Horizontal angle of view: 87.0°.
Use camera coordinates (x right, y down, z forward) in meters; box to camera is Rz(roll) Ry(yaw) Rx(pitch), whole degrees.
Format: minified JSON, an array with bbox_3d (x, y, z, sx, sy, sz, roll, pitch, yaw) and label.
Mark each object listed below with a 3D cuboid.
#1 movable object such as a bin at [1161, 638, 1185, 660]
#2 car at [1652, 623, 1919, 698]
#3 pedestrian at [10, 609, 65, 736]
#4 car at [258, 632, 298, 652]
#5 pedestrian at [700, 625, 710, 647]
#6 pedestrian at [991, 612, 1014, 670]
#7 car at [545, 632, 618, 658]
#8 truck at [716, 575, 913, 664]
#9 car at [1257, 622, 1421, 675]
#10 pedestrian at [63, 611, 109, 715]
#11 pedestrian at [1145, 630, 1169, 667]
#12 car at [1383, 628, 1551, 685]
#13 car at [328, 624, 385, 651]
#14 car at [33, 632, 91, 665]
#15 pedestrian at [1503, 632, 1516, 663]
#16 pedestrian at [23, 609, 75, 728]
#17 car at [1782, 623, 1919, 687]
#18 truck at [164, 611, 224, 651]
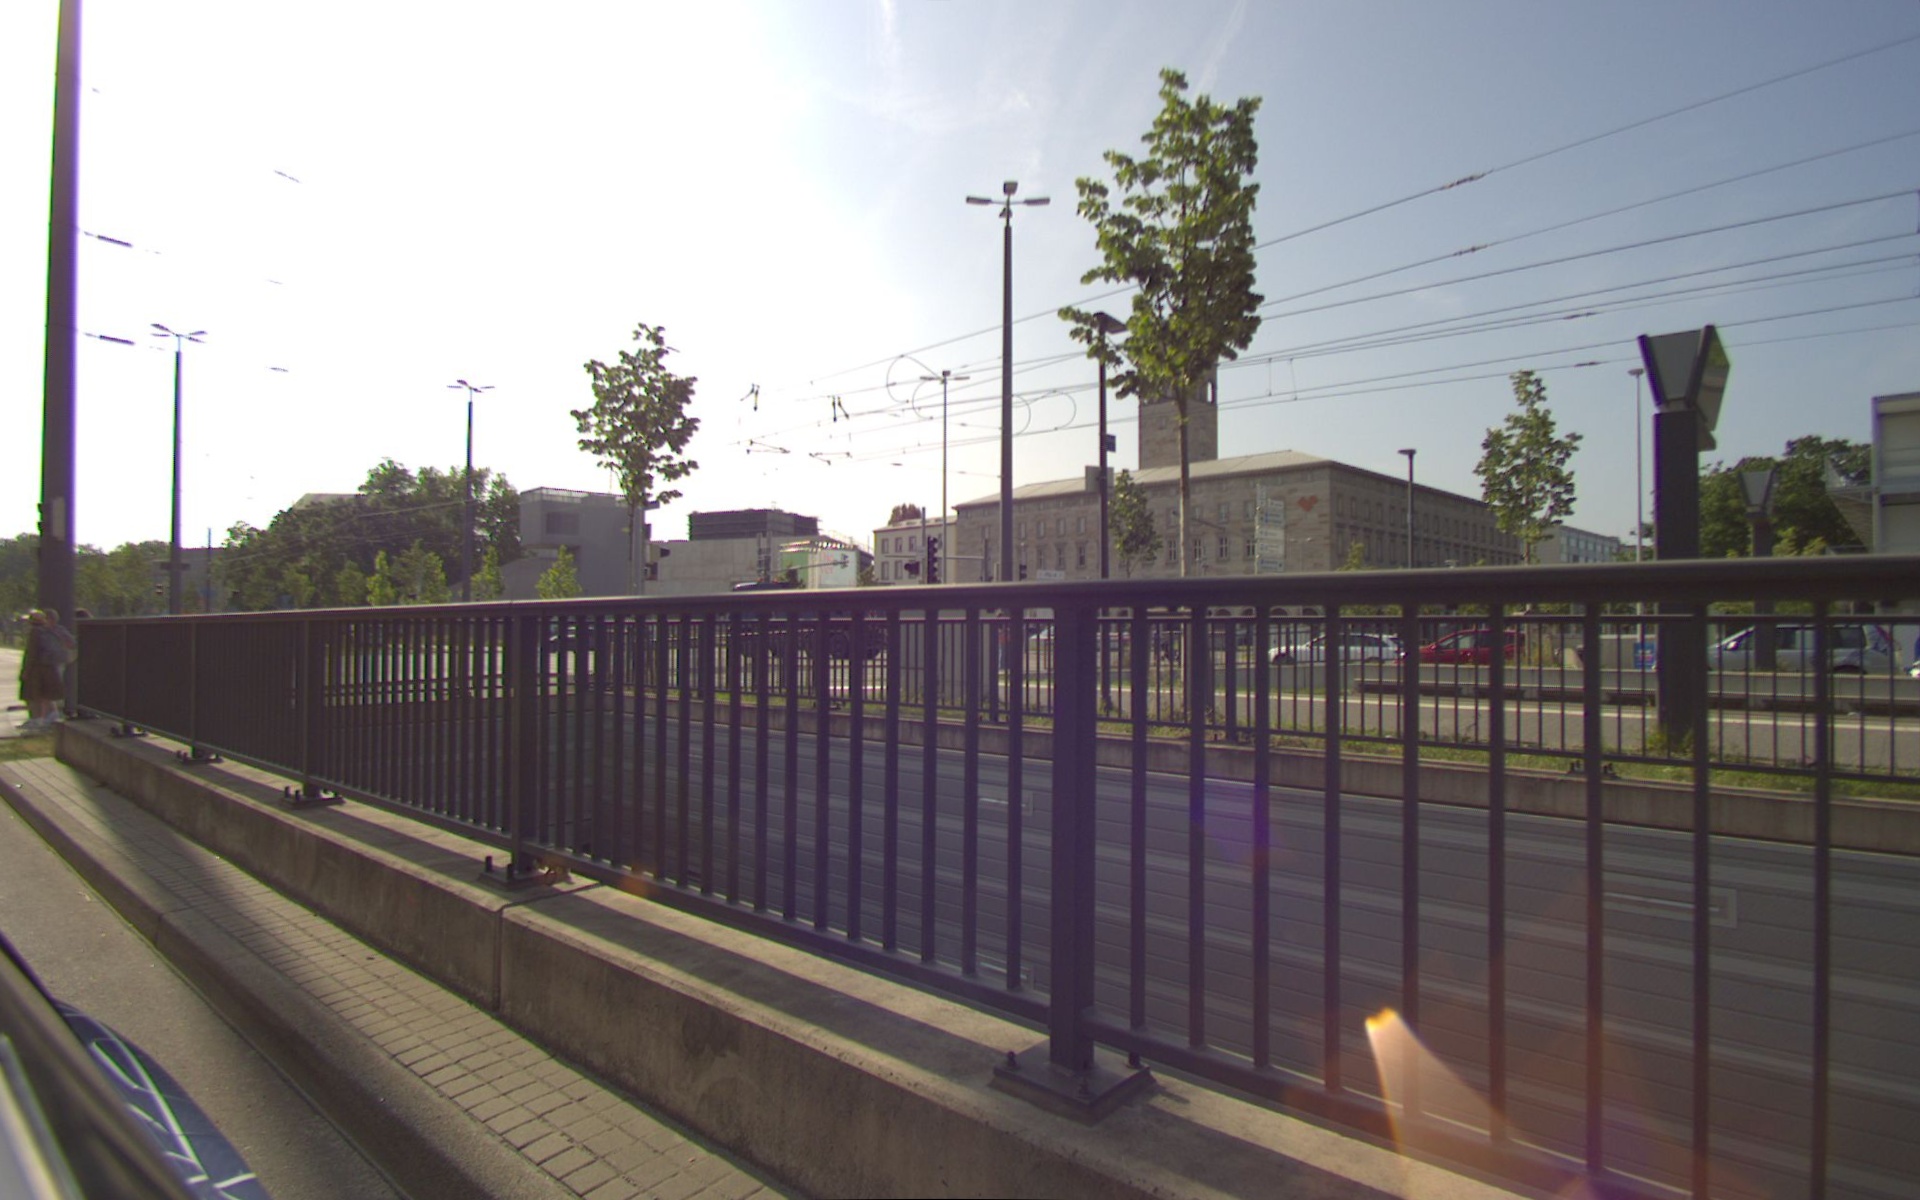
[{"bbox_3d":[10.110,2.320,48.035,0.557,1.022,0.908,2,-3,-45],"label":"movable object such as a bin"},{"bbox_3d":[17.846,1.268,22.064,4.400,1.481,1.626,-2,-3,40],"label":"car"},{"bbox_3d":[-12.578,0.969,13.793,0.777,1.662,0.462,-2,-2,41],"label":"pedestrian"},{"bbox_3d":[-56.407,3.472,83.673,3.995,1.614,1.623,-2,-3,39],"label":"car"},{"bbox_3d":[-20.440,2.873,81.001,0.598,1.710,0.538,2,-3,-44],"label":"pedestrian"},{"bbox_3d":[1.268,1.211,30.116,0.365,1.689,0.642,1,-2,-32],"label":"pedestrian"},{"bbox_3d":[-20.575,2.457,54.950,4.415,1.357,1.581,-2,-3,36],"label":"car"},{"bbox_3d":[-6.543,0.959,44.693,8.864,3.614,2.997,-2,-3,33],"label":"truck"},{"bbox_3d":[12.106,1.512,32.450,4.608,1.594,1.775,-1,-2,37],"label":"car"},{"bbox_3d":[-14.333,1.013,16.595,0.777,1.662,0.462,-2,-2,41],"label":"pedestrian"},{"bbox_3d":[9.470,2.343,48.688,0.553,1.747,1.006,2,-3,-45],"label":"pedestrian"},{"bbox_3d":[13.260,1.439,26.543,3.692,1.372,1.704,-2,-2,38],"label":"car"},{"bbox_3d":[-41.792,2.613,70.062,4.505,1.802,1.602,-2,-2,34],"label":"car"},{"bbox_3d":[-43.342,2.311,48.835,3.869,1.443,1.686,-2,0,43],"label":"car"},{"bbox_3d":[30.529,2.628,56.218,0.540,1.722,0.586,-2,-3,40],"label":"pedestrian"},{"bbox_3d":[-13.174,0.973,14.634,0.777,1.662,0.462,-2,-2,41],"label":"pedestrian"},{"bbox_3d":[22.314,1.312,24.679,3.433,1.474,1.579,-2,-2,42],"label":"car"},{"bbox_3d":[-77.152,3.138,101.867,10.421,3.838,2.939,-2,-3,43],"label":"truck"}]
